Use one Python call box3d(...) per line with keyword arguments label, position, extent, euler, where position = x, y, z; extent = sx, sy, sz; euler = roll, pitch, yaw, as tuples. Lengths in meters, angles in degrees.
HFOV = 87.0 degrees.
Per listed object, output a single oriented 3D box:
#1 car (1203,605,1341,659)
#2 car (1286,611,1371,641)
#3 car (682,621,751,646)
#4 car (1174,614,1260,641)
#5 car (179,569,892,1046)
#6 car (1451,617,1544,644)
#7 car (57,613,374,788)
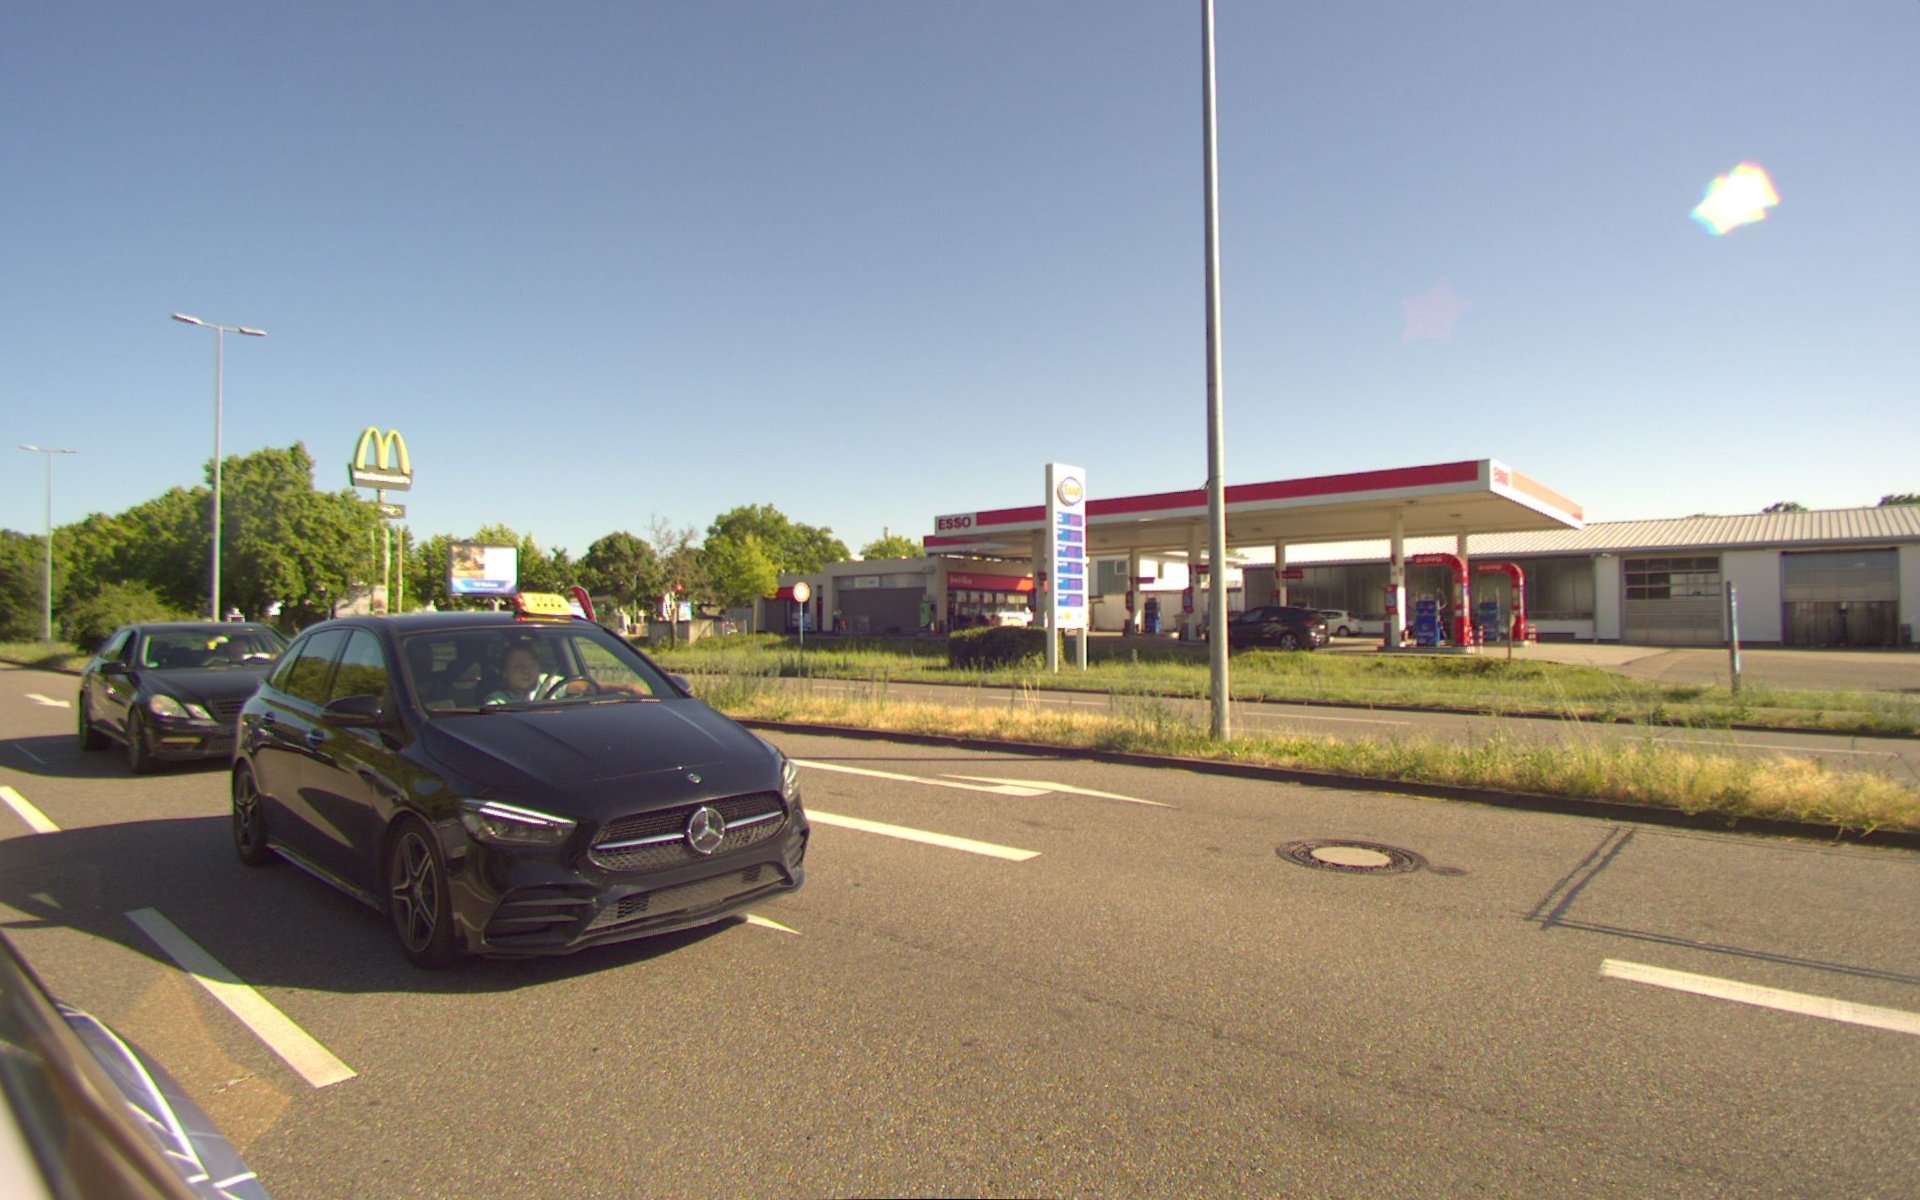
box3d(label="car", position=(11.041, 1.111, 35.989), extent=(4.322, 1.739, 1.783), euler=(-1, 2, 43))
box3d(label="car", position=(19.975, 1.388, 54.931), extent=(3.855, 1.500, 1.973), euler=(-1, 0, 41))
box3d(label="car", position=(-14.316, 1.945, 59.409), extent=(3.998, 1.416, 1.973), euler=(-2, -2, 41))
box3d(label="car", position=(15.133, 1.613, 59.784), extent=(4.540, 1.477, 1.973), euler=(-1, 0, 41))
box3d(label="car", position=(-2.637, 0.752, 5.603), extent=(4.579, 1.614, 1.765), euler=(-2, -1, 40))
box3d(label="car", position=(26.216, 1.472, 49.431), extent=(3.729, 1.196, 1.658), euler=(-1, 0, 41))
box3d(label="car", position=(-8.394, 0.927, 11.251), extent=(4.461, 1.521, 1.928), euler=(-1, 0, 41))
